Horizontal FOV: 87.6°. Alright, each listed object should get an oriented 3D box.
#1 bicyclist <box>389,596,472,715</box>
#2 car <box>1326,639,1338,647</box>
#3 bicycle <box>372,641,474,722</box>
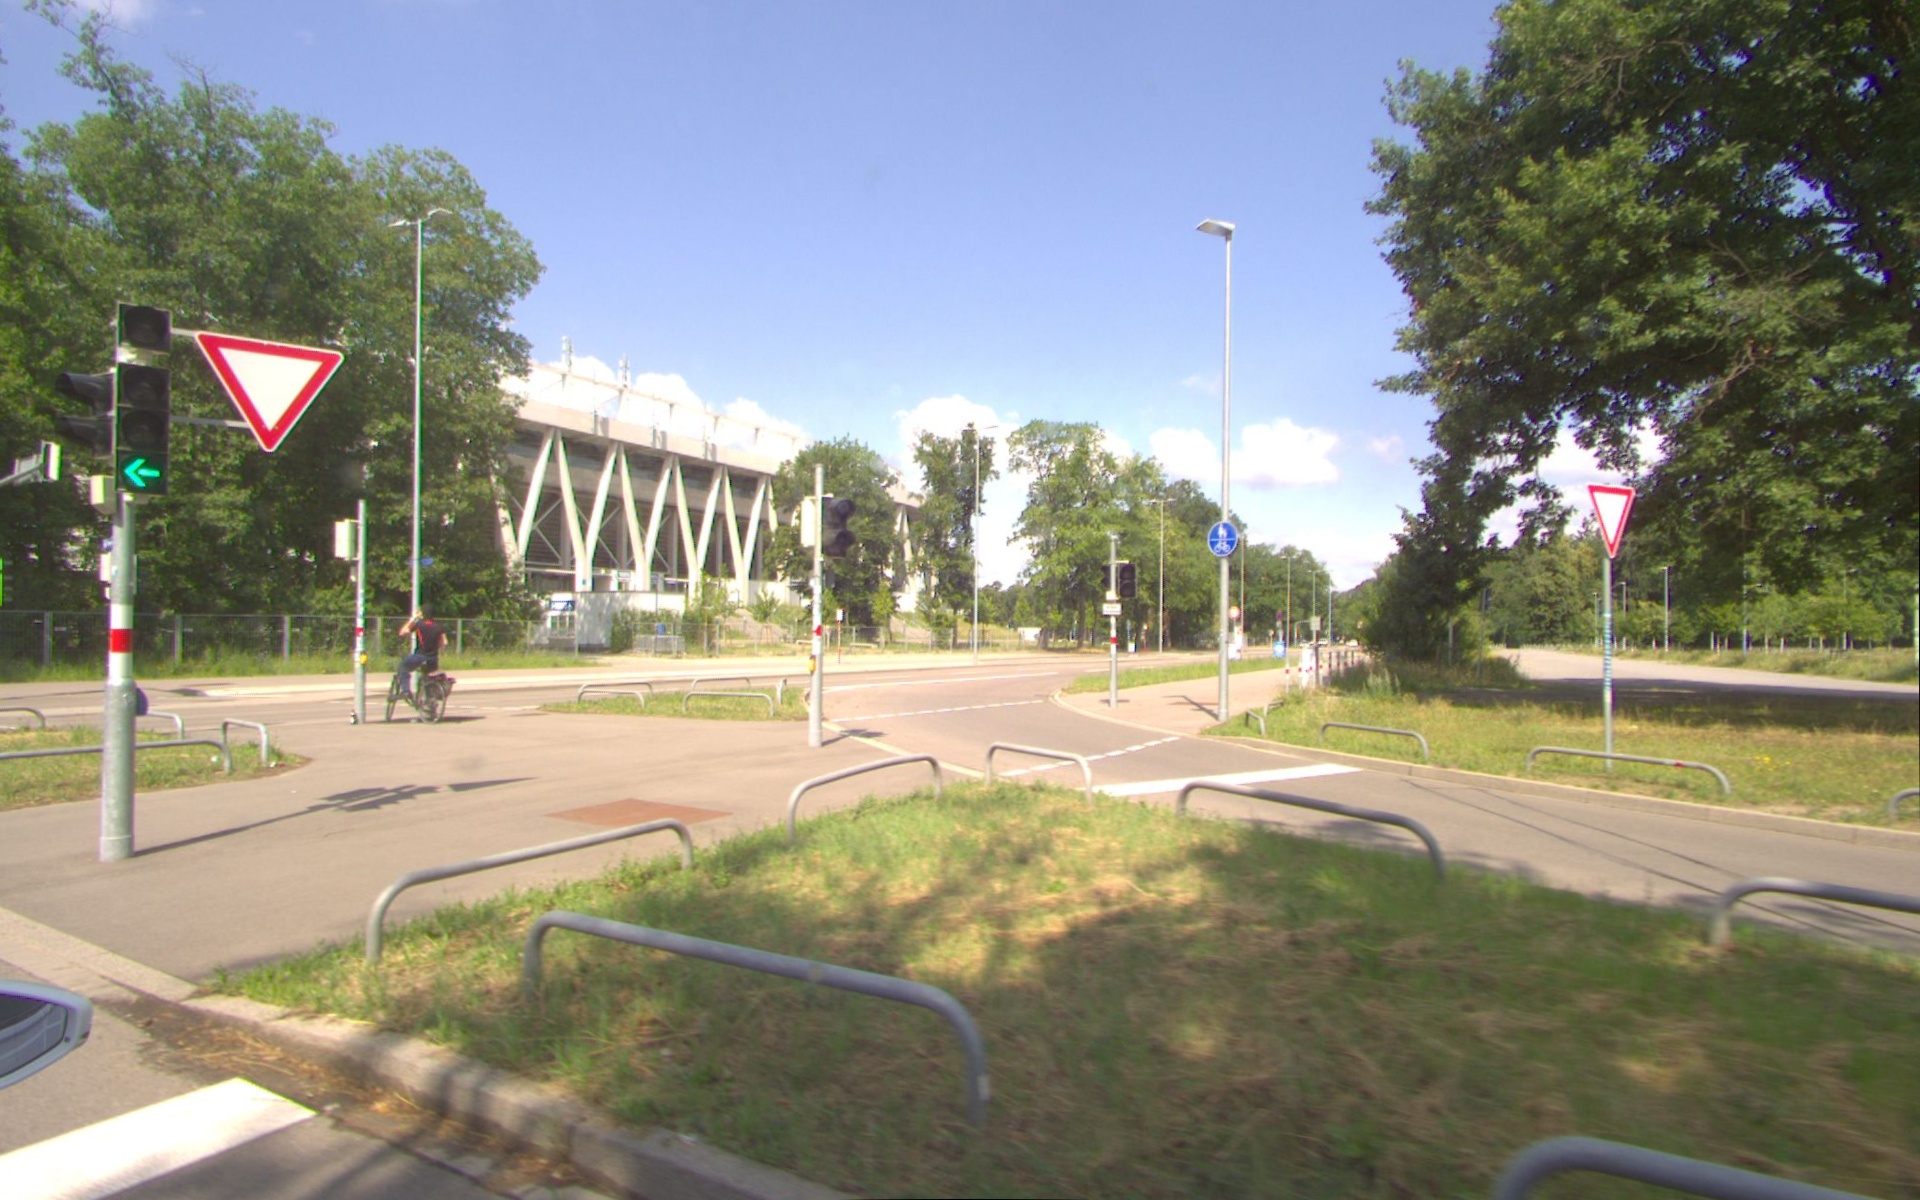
[{"bbox_3d":[-8.457,0.877,15.995,0.967,1.820,0.881,-2,-2,40],"label":"bicyclist"},{"bbox_3d":[68.100,7.828,183.353,1.557,1.498,3.556,-2,-2,29],"label":"car"},{"bbox_3d":[-8.682,1.286,16.163,1.876,1.221,0.876,-2,-2,42],"label":"bicycle"}]
